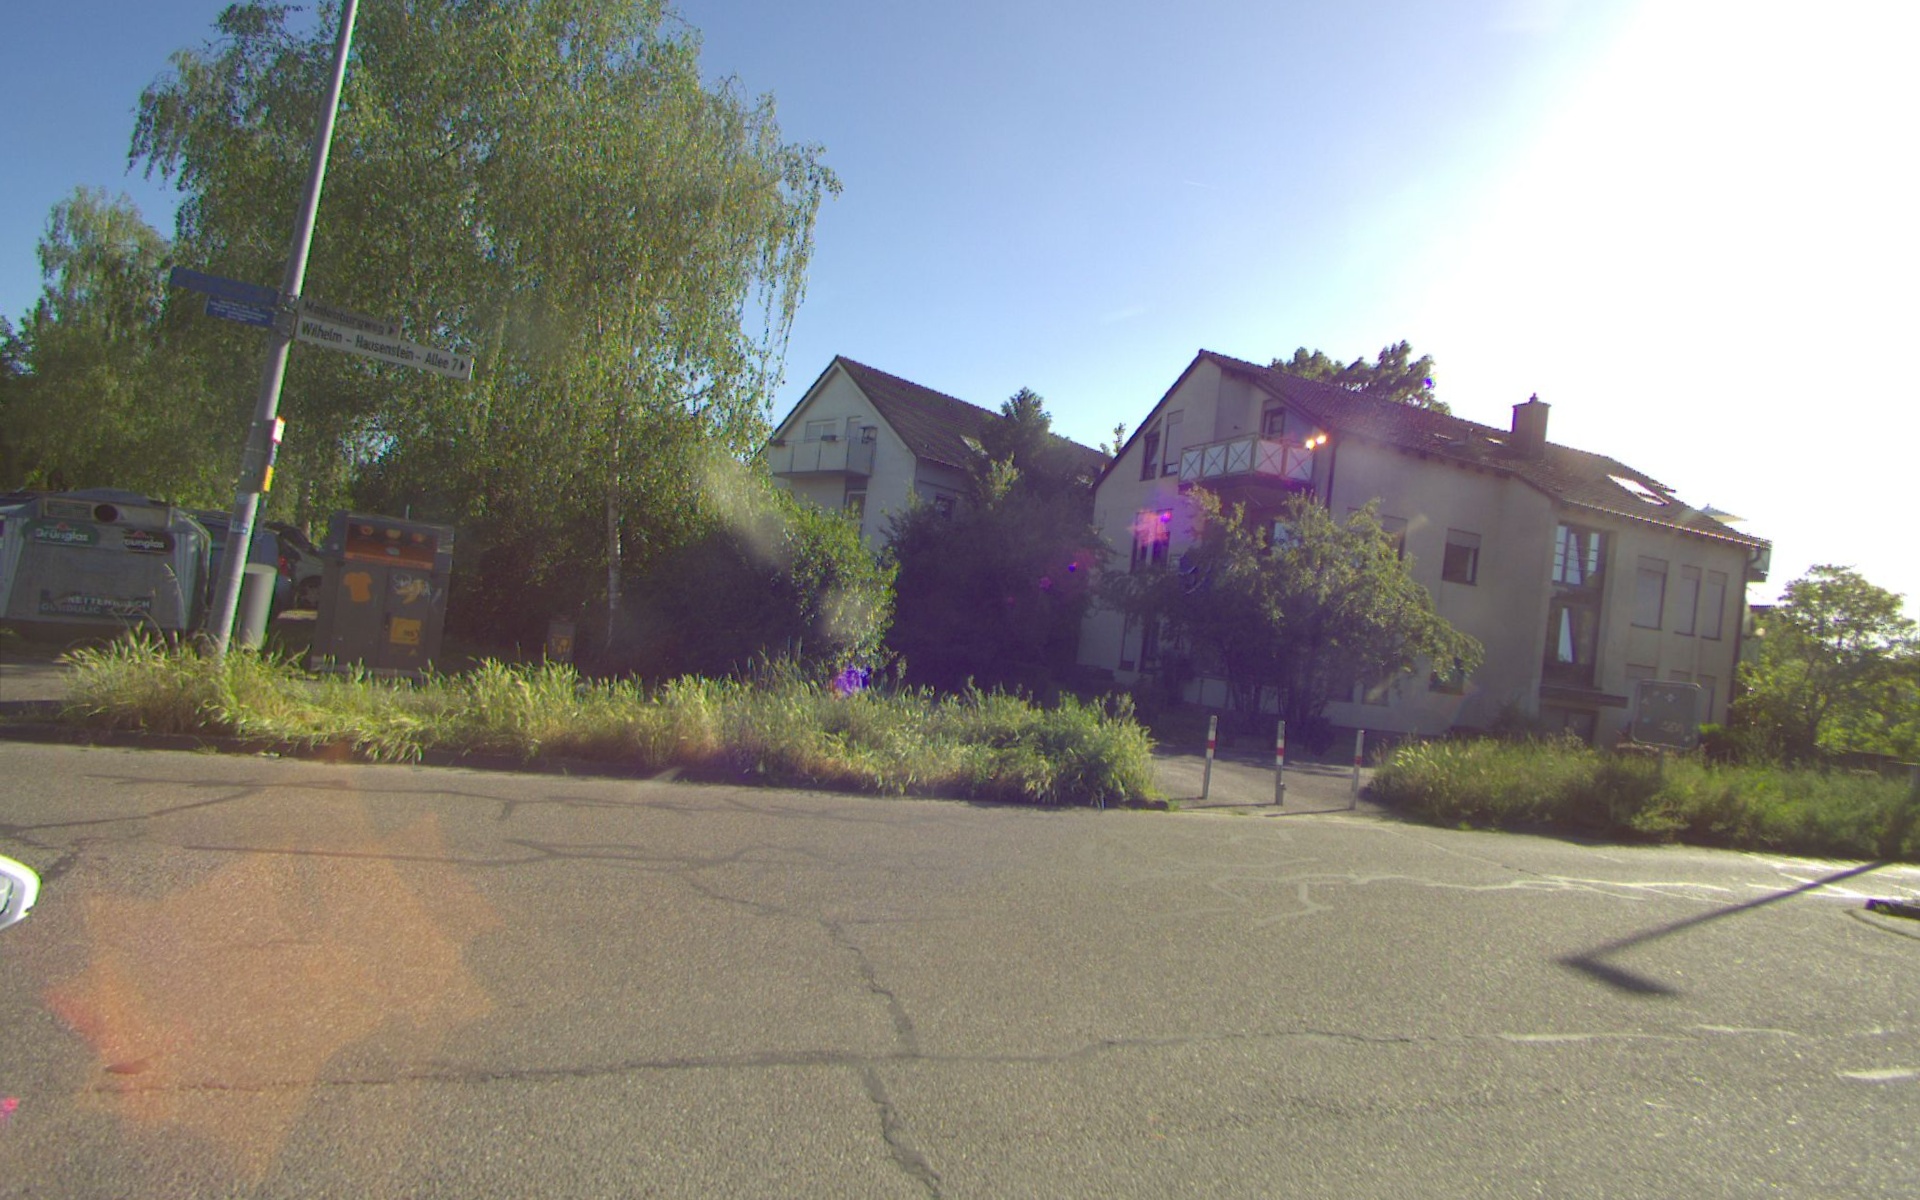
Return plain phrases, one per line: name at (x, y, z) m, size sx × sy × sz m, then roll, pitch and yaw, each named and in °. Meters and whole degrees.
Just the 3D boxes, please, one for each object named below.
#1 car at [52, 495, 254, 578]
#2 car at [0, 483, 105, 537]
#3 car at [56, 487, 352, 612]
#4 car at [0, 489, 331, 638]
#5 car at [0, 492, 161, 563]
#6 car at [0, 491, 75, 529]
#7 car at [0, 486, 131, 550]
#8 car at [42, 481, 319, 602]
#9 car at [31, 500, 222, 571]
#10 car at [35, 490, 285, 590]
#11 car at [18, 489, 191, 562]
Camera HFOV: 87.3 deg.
car at (-21.487, -1.652, 26.954) m, size 3.972 × 1.520 × 1.927 m, roll 9°, pitch -3°, yaw -39°
car at (-37.997, -3.747, 41.508) m, size 3.975 × 1.603 × 1.777 m, roll 10°, pitch -3°, yaw -42°
car at (-14.102, -0.888, 18.967) m, size 1.765 × 1.622 × 4.052 m, roll 8°, pitch -1°, yaw 40°
car at (-11.335, -0.492, 14.182) m, size 4.027 × 1.455 × 1.621 m, roll 10°, pitch -2°, yaw -32°
car at (-25.977, -2.125, 29.359) m, size 3.975 × 1.416 × 1.777 m, roll 10°, pitch -3°, yaw -42°
car at (-57.296, -5.562, 62.003) m, size 3.975 × 1.728 × 1.777 m, roll 10°, pitch -3°, yaw -42°
car at (-32.083, -2.922, 35.687) m, size 3.975 × 1.603 × 1.777 m, roll 10°, pitch -3°, yaw -42°
car at (-15.946, -1.141, 20.771) m, size 1.764 × 1.726 × 4.104 m, roll 8°, pitch -1°, yaw 39°
car at (-23.511, -1.784, 28.563) m, size 3.972 × 1.292 × 1.778 m, roll 10°, pitch -3°, yaw -39°
car at (-18.193, -1.319, 23.044) m, size 1.764 × 1.517 × 4.104 m, roll 8°, pitch -1°, yaw 39°
car at (-27.222, -2.325, 32.141) m, size 3.975 × 1.603 × 1.777 m, roll 10°, pitch -3°, yaw -42°
